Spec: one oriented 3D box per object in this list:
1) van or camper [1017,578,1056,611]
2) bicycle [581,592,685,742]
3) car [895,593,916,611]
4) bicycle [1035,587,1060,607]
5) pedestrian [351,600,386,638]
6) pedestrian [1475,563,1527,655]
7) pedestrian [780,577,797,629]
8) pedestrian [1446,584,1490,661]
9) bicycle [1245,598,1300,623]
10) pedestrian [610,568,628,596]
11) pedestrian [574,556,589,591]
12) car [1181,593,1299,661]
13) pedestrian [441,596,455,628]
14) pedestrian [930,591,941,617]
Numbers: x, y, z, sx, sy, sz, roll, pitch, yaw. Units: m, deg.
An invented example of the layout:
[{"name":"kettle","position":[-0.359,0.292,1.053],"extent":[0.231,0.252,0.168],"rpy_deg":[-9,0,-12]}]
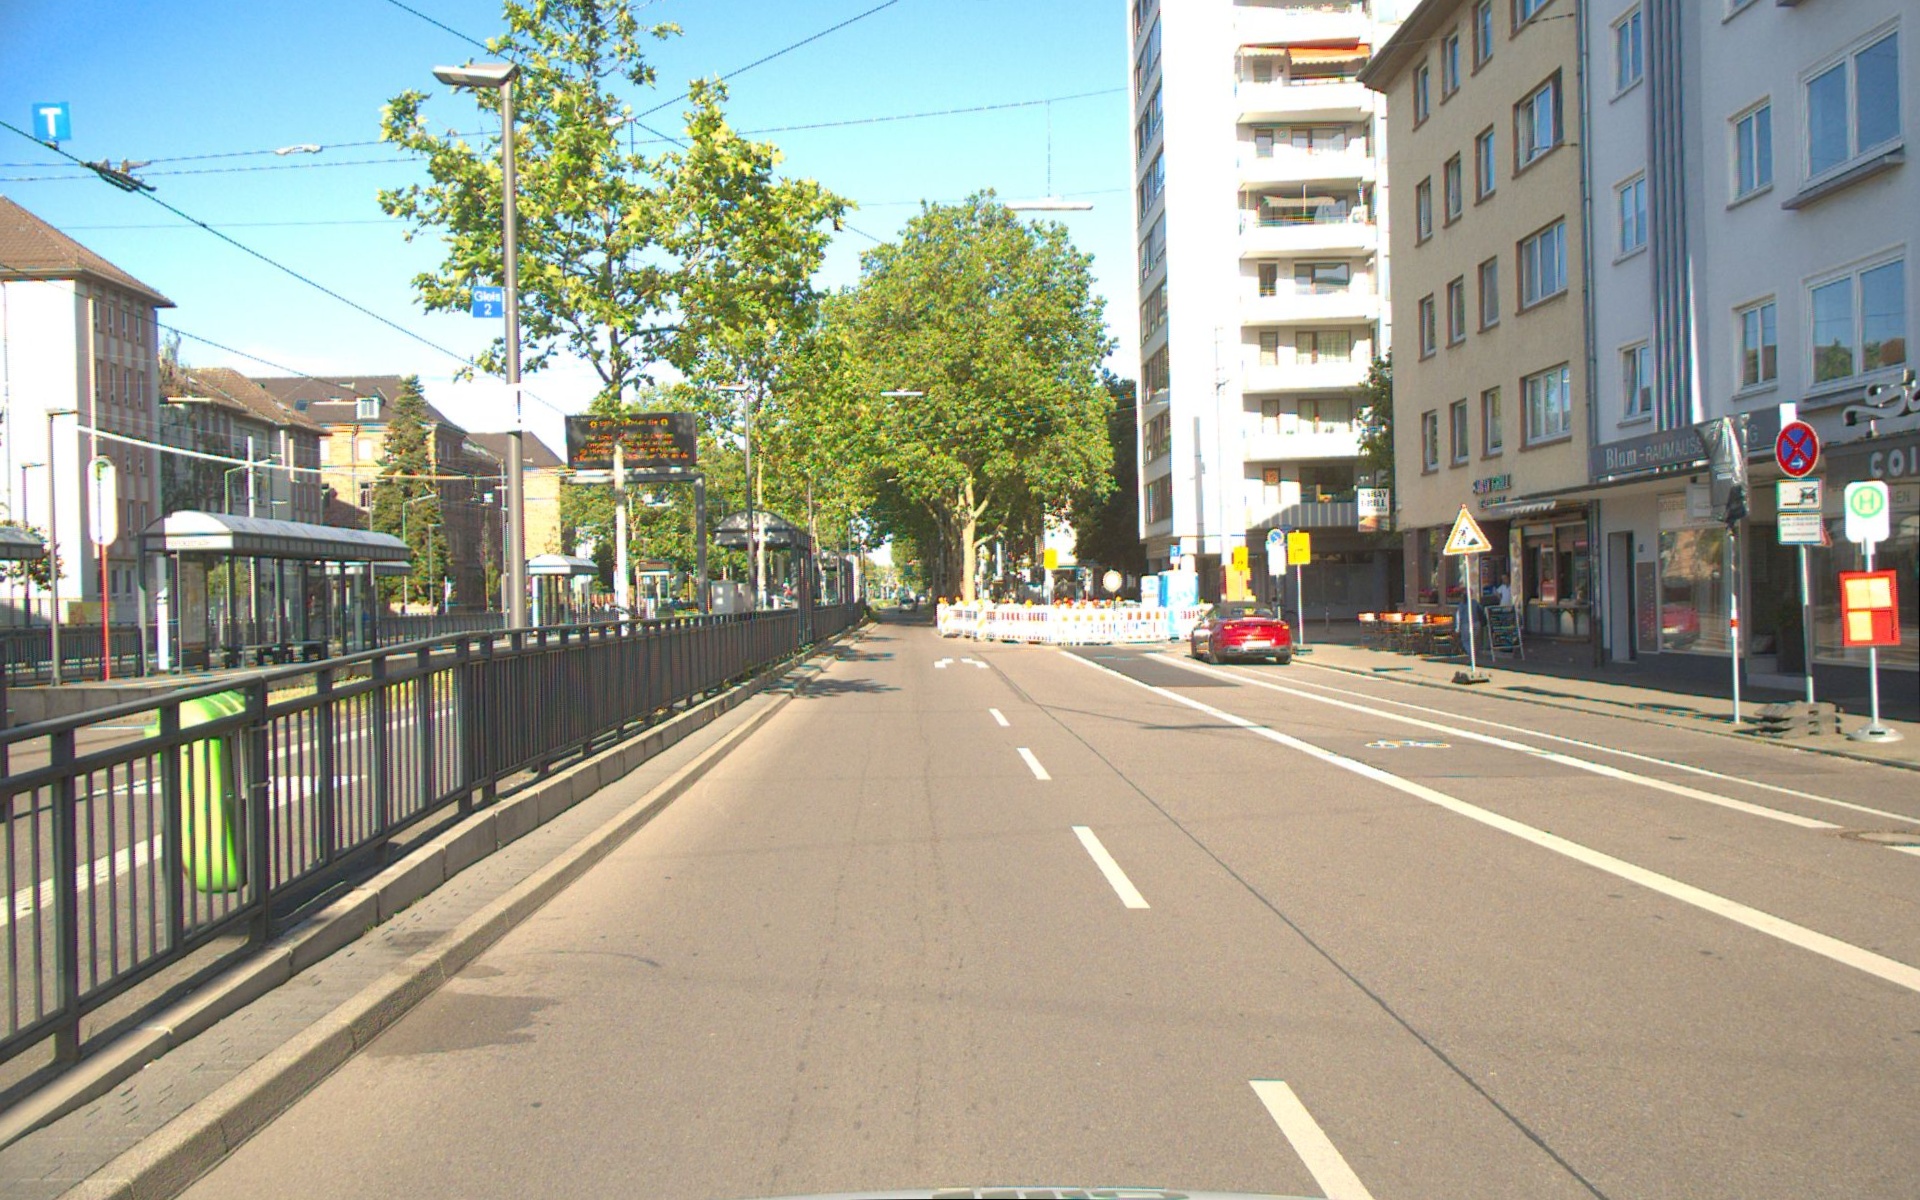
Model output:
[{"name":"van or camper","position":[5.441,-0.388,118.187],"extent":[2.245,2.326,5.820],"rpy_deg":[-1,0,-2]},{"name":"bicycle","position":[-3.288,0.629,16.788],"extent":[0.626,1.403,2.169],"rpy_deg":[-1,0,-1]},{"name":"car","position":[-5.419,0.217,163.821],"extent":[1.981,1.691,3.998],"rpy_deg":[-1,0,-2]},{"name":"bicycle","position":[6.040,-0.213,114.360],"extent":[1.573,1.285,0.961],"rpy_deg":[-1,0,-6]},{"name":"pedestrian","position":[-21.808,0.698,60.991],"extent":[0.955,1.400,0.879],"rpy_deg":[-1,0,-3]},{"name":"pedestrian","position":[11.396,0.187,34.868],"extent":[0.714,1.887,0.900],"rpy_deg":[-1,0,-5]},{"name":"pedestrian","position":[-6.924,0.122,66.824],"extent":[0.654,2.049,0.716],"rpy_deg":[-1,0,-4]},{"name":"pedestrian","position":[10.315,0.451,33.610],"extent":[0.657,1.533,0.652],"rpy_deg":[-1,0,-2]},{"name":"bicycle","position":[12.174,0.403,64.370],"extent":[1.985,0.959,1.018],"rpy_deg":[-1,0,18]},{"name":"pedestrian","position":[-21.325,-1.119,103.523],"extent":[0.933,1.766,0.730],"rpy_deg":[-1,0,1]},{"name":"pedestrian","position":[-22.789,-1.578,99.532],"extent":[0.649,2.049,0.860],"rpy_deg":[-1,0,-2]},{"name":"car","position":[6.557,0.595,39.295],"extent":[1.834,1.468,5.158],"rpy_deg":[-1,0,-1]},{"name":"pedestrian","position":[-30.871,0.713,99.748],"extent":[0.679,1.869,0.572],"rpy_deg":[-1,0,-3]},{"name":"pedestrian","position":[-1.638,0.263,112.338],"extent":[0.698,1.710,0.772],"rpy_deg":[-1,0,-3]}]
